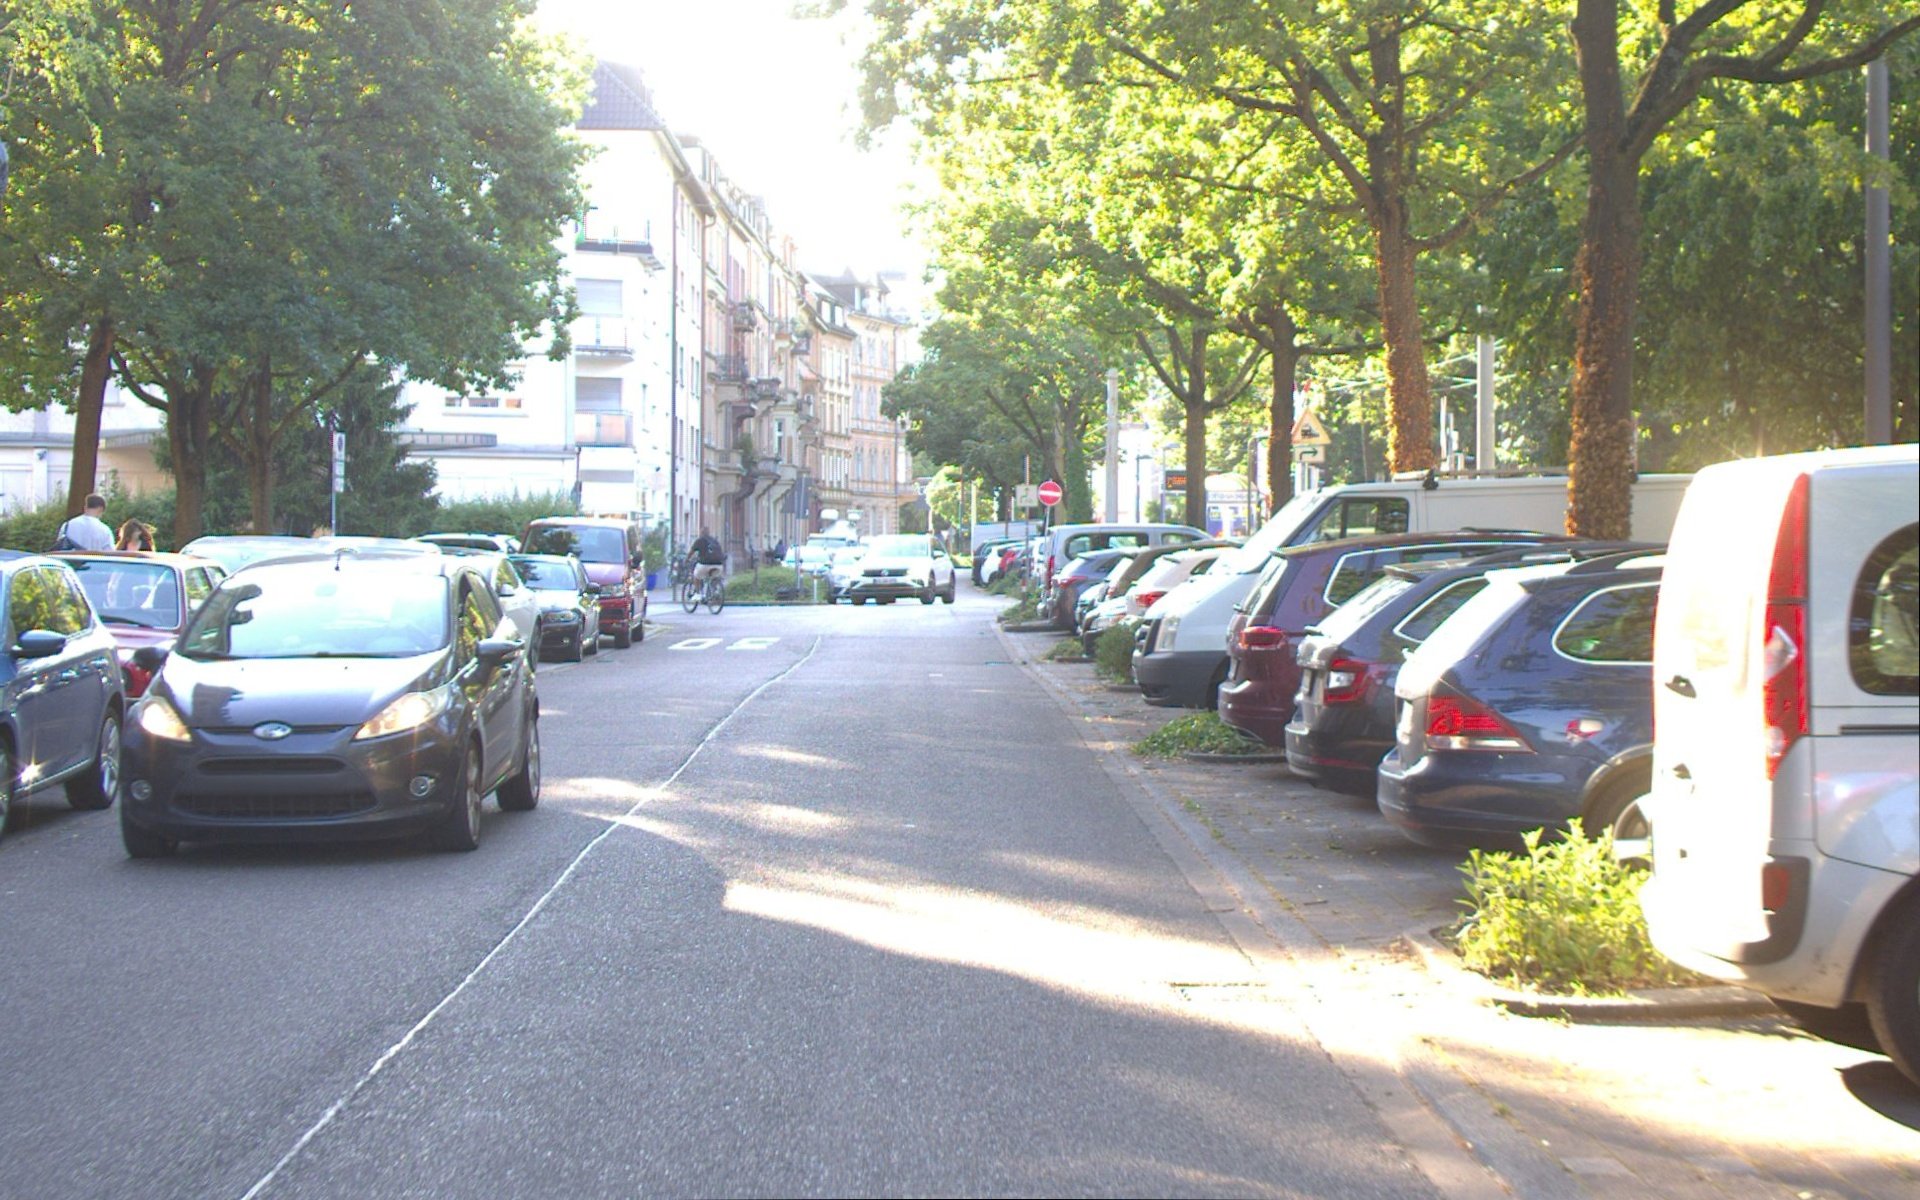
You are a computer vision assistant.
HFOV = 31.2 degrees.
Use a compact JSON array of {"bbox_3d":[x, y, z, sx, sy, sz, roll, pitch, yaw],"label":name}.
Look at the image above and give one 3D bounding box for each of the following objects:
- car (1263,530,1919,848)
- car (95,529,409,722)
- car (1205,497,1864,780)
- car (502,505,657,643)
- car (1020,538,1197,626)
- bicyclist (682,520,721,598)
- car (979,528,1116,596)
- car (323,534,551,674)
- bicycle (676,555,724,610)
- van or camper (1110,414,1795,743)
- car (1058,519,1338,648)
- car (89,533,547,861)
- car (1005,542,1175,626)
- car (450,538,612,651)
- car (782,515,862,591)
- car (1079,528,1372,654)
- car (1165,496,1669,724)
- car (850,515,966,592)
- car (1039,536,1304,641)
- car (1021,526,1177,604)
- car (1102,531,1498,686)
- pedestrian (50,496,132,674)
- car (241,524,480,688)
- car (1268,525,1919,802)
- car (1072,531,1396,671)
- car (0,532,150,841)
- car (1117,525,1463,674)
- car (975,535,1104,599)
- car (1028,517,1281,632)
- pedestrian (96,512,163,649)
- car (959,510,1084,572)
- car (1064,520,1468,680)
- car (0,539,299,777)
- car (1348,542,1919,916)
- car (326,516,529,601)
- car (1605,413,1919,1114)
[{"bbox_3d":[3.738,0.402,17.457,4.220,1.448,1.865,-1,1,1],"label":"car"},{"bbox_3d":[-5.818,0.159,28.669,1.704,1.424,3.877,3,1,1],"label":"car"},{"bbox_3d":[3.674,0.227,22.532,3.987,1.685,1.859,-1,1,1],"label":"car"},{"bbox_3d":[-5.859,-0.422,53.391,1.957,2.011,4.268,1,1,-1],"label":"car"},{"bbox_3d":[3.607,-0.420,83.319,3.989,2.007,1.999,1,-1,11],"label":"car"},{"bbox_3d":[-5.310,-0.834,70.530,0.627,1.568,0.802,2,-1,-14],"label":"bicyclist"},{"bbox_3d":[2.756,-1.179,108.001,3.989,2.007,1.999,1,-1,11],"label":"car"},{"bbox_3d":[-5.897,0.007,39.202,1.756,1.461,4.267,1,1,2],"label":"car"},{"bbox_3d":[-5.348,-0.360,70.637,0.641,1.096,1.944,2,-1,-14],"label":"bicycle"},{"bbox_3d":[3.783,-0.149,27.089,4.981,2.369,2.185,1,-1,-2],"label":"van or camper"},{"bbox_3d":[3.567,-0.240,52.027,3.986,1.819,1.859,1,-1,-3],"label":"car"},{"bbox_3d":[-3.155,0.402,17.627,1.668,1.459,4.000,-1,1,-1],"label":"car"},{"bbox_3d":[3.305,-0.391,86.856,3.989,2.007,1.999,1,-1,11],"label":"car"},{"bbox_3d":[-5.925,-0.113,47.860,1.756,1.461,4.268,1,1,-1],"label":"car"},{"bbox_3d":[-3.570,-1.198,89.392,1.993,1.831,4.000,1,-1,-2],"label":"car"},{"bbox_3d":[3.803,-0.114,49.730,3.986,1.694,1.859,1,-1,-3],"label":"car"},{"bbox_3d":[3.881,0.072,29.658,3.986,1.811,1.859,1,1,-3],"label":"car"},{"bbox_3d":[-1.153,-1.061,78.537,1.779,1.668,4.485,2,1,10],"label":"car"},{"bbox_3d":[3.330,-0.169,54.701,3.986,1.558,1.859,1,-1,-3],"label":"car"},{"bbox_3d":[3.821,-0.947,94.403,3.989,2.007,1.999,1,-1,11],"label":"car"},{"bbox_3d":[3.619,0.101,37.087,3.986,1.543,1.859,1,-1,-3],"label":"car"},{"bbox_3d":[-8.305,-0.152,32.859,0.597,1.662,0.708,0,3,-1],"label":"pedestrian"},{"bbox_3d":[-5.960,0.023,34.585,1.756,1.510,4.162,1,1,-2],"label":"car"},{"bbox_3d":[3.884,0.337,20.071,3.987,1.456,1.859,-1,1,1],"label":"car"},{"bbox_3d":[3.550,0.025,45.069,3.986,1.694,1.859,1,-1,-3],"label":"car"},{"bbox_3d":[-5.526,0.386,18.002,1.669,1.481,4.000,2,1,-1],"label":"car"},{"bbox_3d":[4.032,0.007,42.416,3.986,1.694,1.859,1,-1,-3],"label":"car"},{"bbox_3d":[2.661,-1.106,114.861,3.989,2.007,1.999,1,-1,11],"label":"car"},{"bbox_3d":[3.219,-0.404,57.371,3.986,1.788,1.859,1,-1,-3],"label":"car"},{"bbox_3d":[-9.560,-0.231,39.579,0.597,1.545,0.708,0,3,-1],"label":"pedestrian"},{"bbox_3d":[2.140,-2.018,118.816,3.989,2.007,1.999,1,-1,11],"label":"car"},{"bbox_3d":[3.484,0.012,39.703,4.389,1.694,1.859,1,-1,-3],"label":"car"},{"bbox_3d":[-5.726,0.321,23.234,1.670,1.425,4.241,1,1,0],"label":"car"},{"bbox_3d":[3.820,0.489,14.562,4.220,1.448,1.649,-1,1,4],"label":"car"},{"bbox_3d":[-11.404,-0.879,73.756,3.987,1.700,2.000,1,-1,1],"label":"car"},{"bbox_3d":[4.167,0.376,10.012,4.220,1.857,1.762,-1,1,1],"label":"car"}]
